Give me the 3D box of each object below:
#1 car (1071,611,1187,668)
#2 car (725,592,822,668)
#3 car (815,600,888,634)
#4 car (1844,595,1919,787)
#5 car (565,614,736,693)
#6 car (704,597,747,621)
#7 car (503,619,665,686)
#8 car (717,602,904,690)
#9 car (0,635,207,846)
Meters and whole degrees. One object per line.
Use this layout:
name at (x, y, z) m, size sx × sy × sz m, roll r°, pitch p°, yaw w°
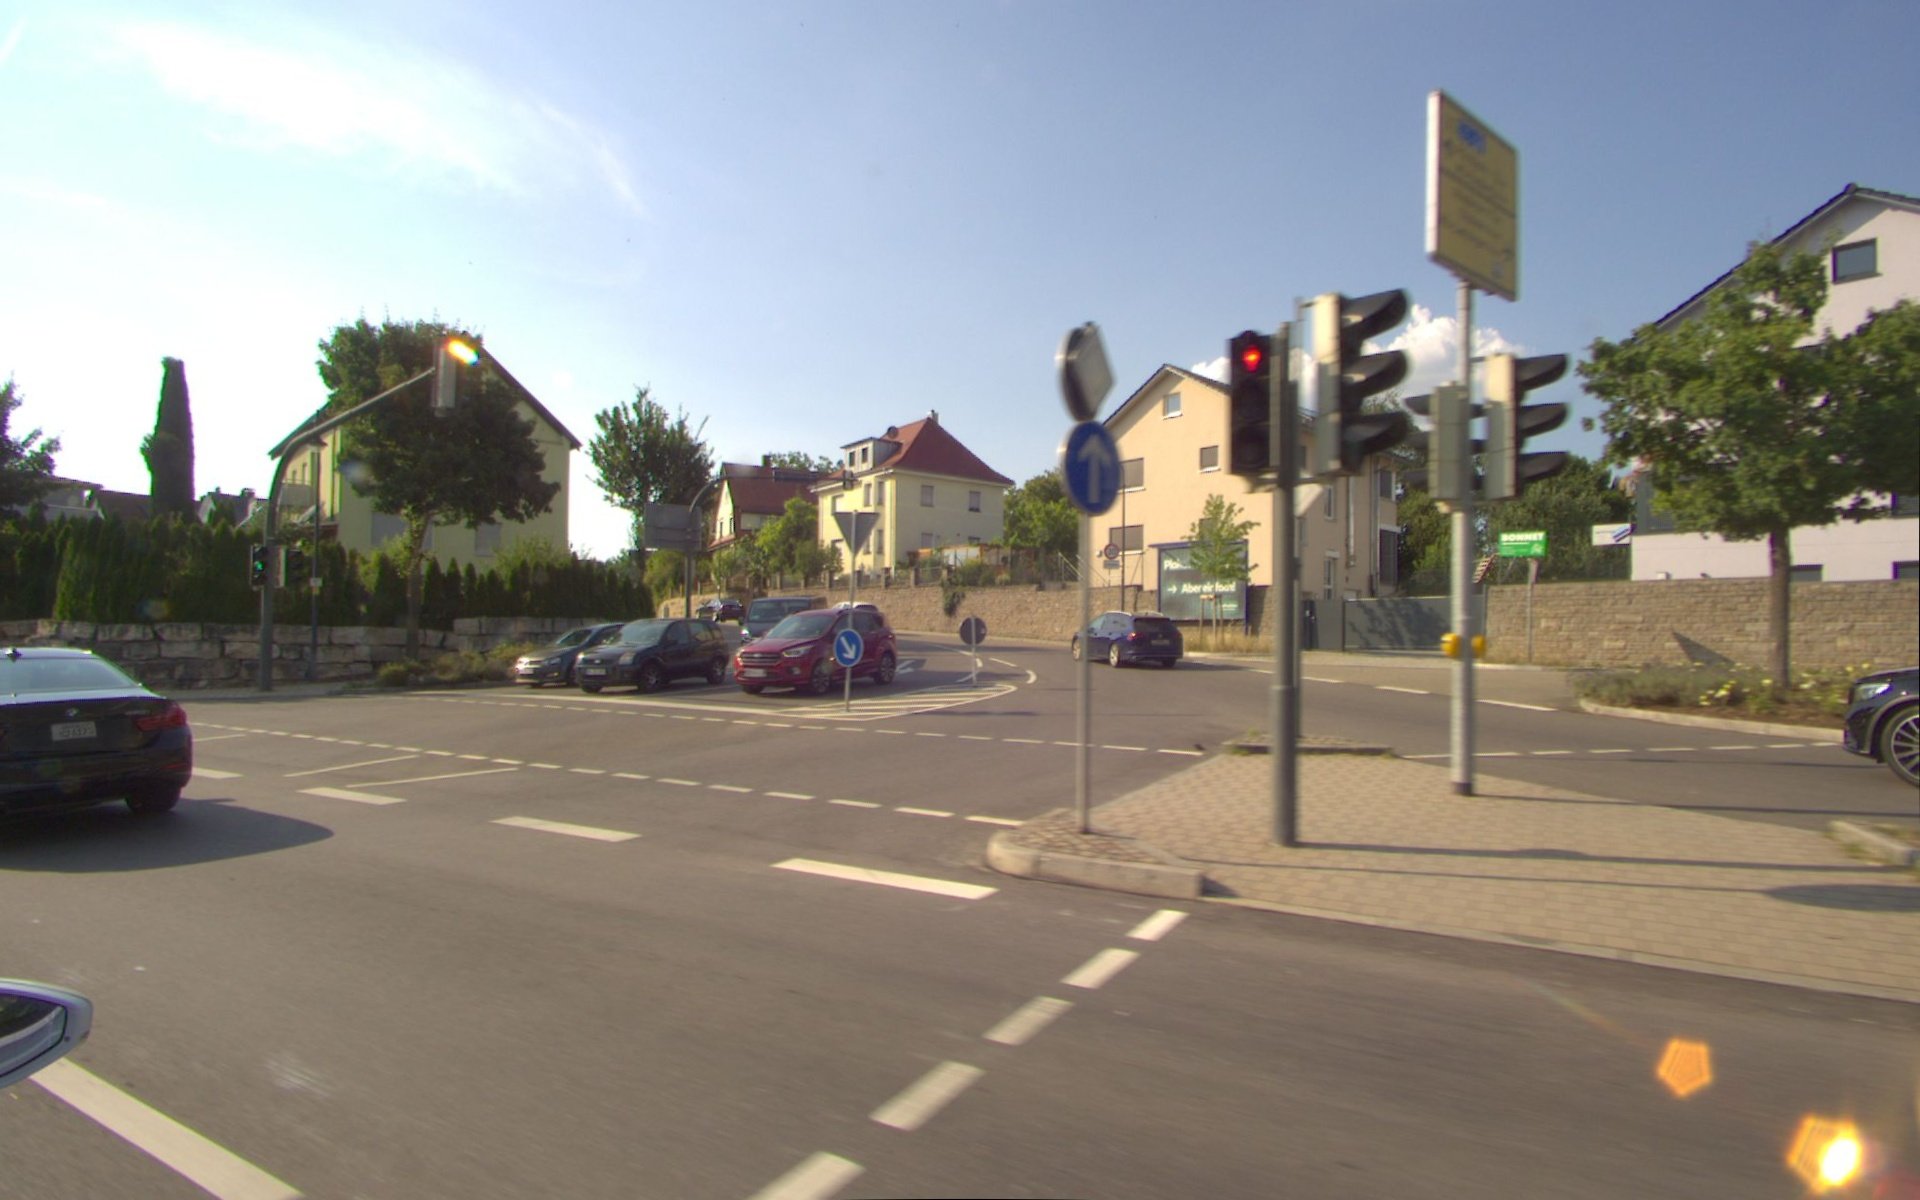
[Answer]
car at (4.506, 1.064, 27.366) m, size 1.605 × 1.428 × 4.274 m, roll 1°, pitch -1°, yaw -13°
car at (-5.194, 0.866, 28.586) m, size 1.961 × 1.956 × 5.181 m, roll 1°, pitch -2°, yaw -2°
car at (-5.159, 0.849, 47.242) m, size 1.843 × 1.513 × 3.976 m, roll 1°, pitch -2°, yaw -33°
car at (9.496, 0.726, 7.125) m, size 1.817 × 1.586 × 4.478 m, roll 2°, pitch -2°, yaw -26°
car at (-6.646, 1.093, 21.900) m, size 1.571 × 1.562 × 3.791 m, roll 0°, pitch -1°, yaw 21°
car at (-14.151, 0.586, 60.376) m, size 1.789 × 1.361 × 3.987 m, roll 1°, pitch -2°, yaw -24°
car at (-9.188, 1.243, 24.716) m, size 1.601 × 1.468 × 3.595 m, roll -2°, pitch -1°, yaw 28°
car at (-2.997, 0.943, 21.022) m, size 1.832 × 1.646 × 4.240 m, roll 0°, pitch -2°, yaw 26°
car at (-8.117, 1.004, 8.204) m, size 4.200 × 1.386 × 1.697 m, roll -1°, pitch -1°, yaw 31°
